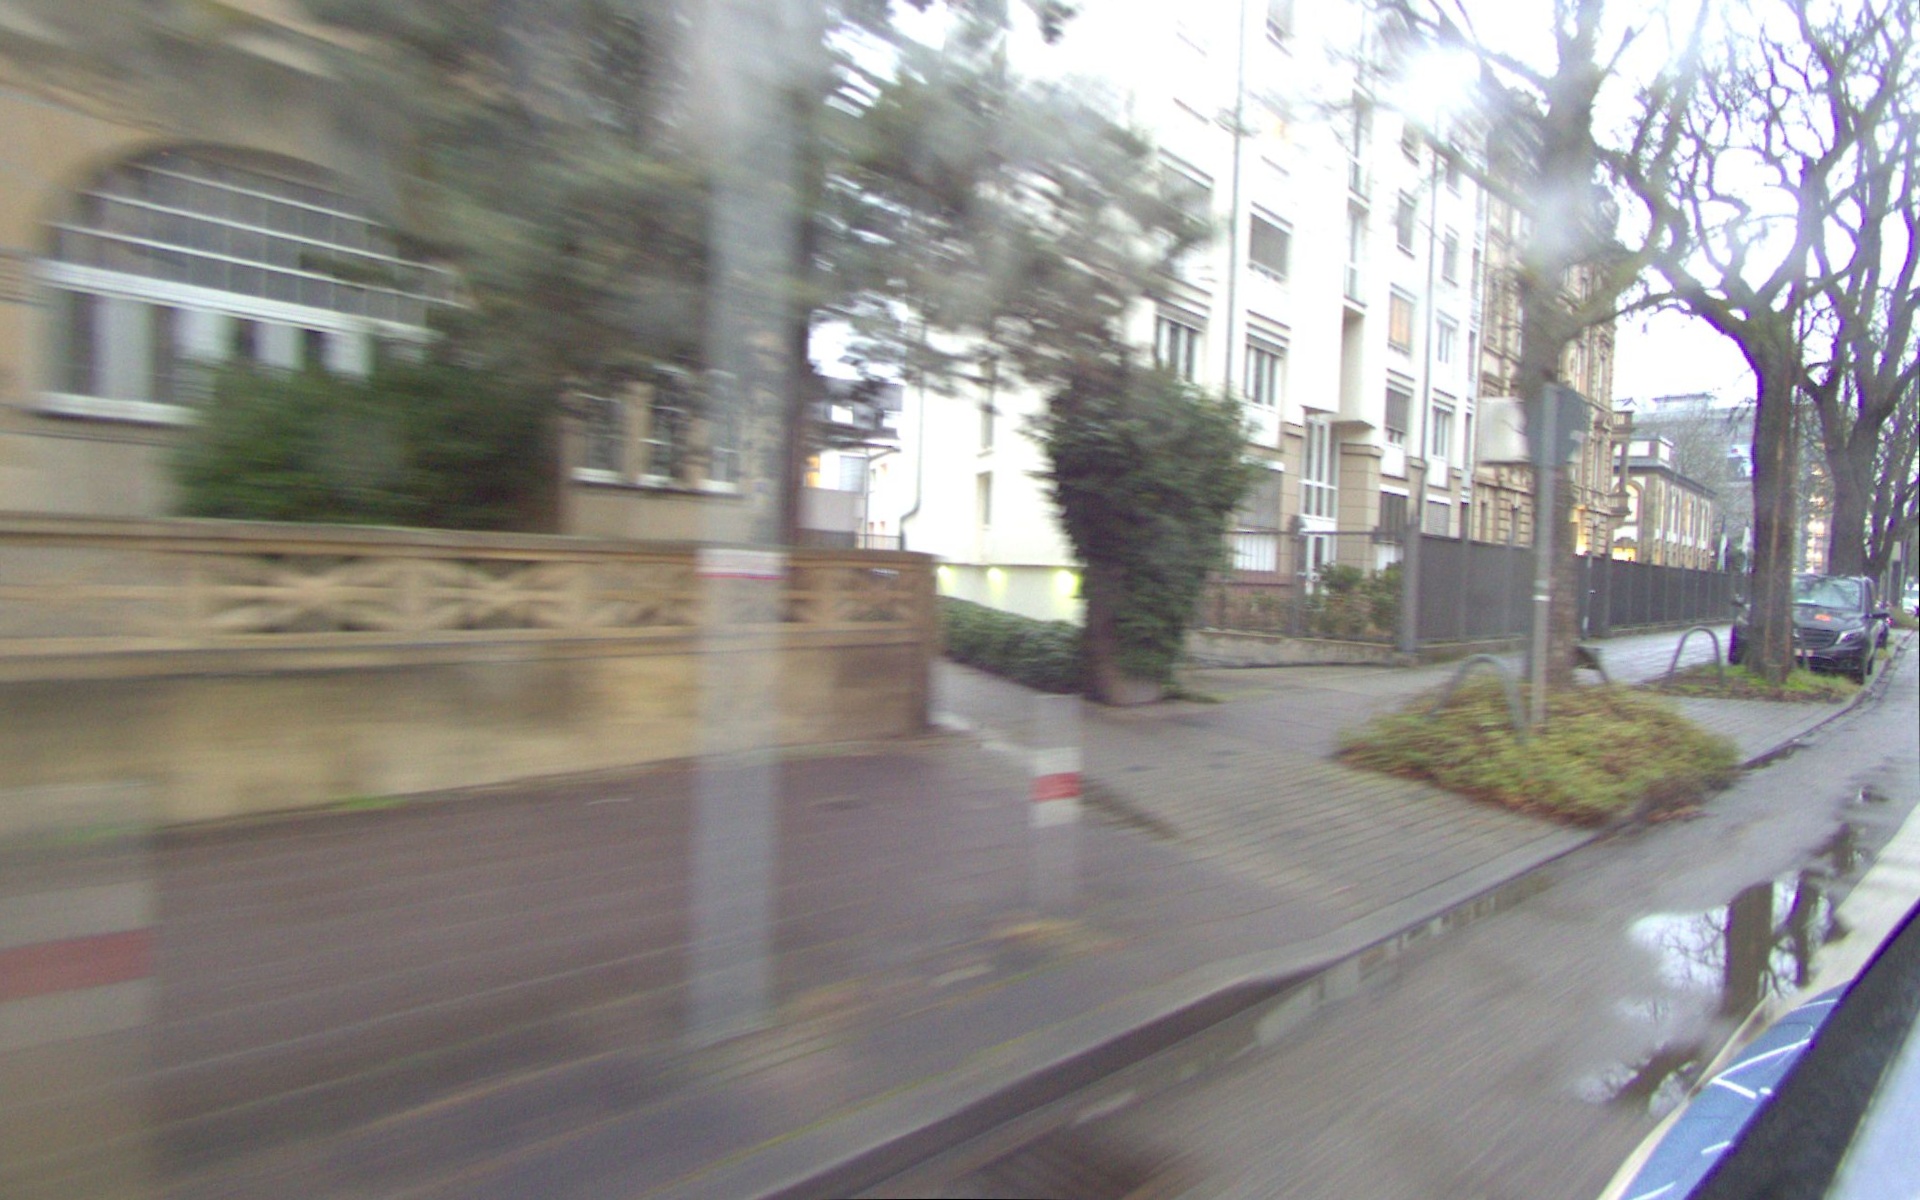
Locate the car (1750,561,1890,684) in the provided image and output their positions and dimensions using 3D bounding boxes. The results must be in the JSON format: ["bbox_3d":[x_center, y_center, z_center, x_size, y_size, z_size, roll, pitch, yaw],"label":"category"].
[{"bbox_3d":[15.746,0.344,18.444,1.721,1.970,4.438,-1,0,43],"label":"car"}]

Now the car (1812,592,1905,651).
[{"bbox_3d":[23.670,0.521,26.714,1.720,1.431,3.785,-1,0,41],"label":"car"}]

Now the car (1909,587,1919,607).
[{"bbox_3d":[70.477,-0.219,73.743,1.720,1.431,3.785,3,2,41],"label":"car"}]

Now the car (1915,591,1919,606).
[{"bbox_3d":[95.124,-0.133,99.457,1.720,1.431,3.785,-1,0,41],"label":"car"}]

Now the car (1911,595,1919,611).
[{"bbox_3d":[85.487,0.250,89.588,1.720,1.431,3.785,-1,0,41],"label":"car"}]

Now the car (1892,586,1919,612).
[{"bbox_3d":[57.008,-0.071,60.510,1.720,1.431,3.785,3,2,41],"label":"car"}]
